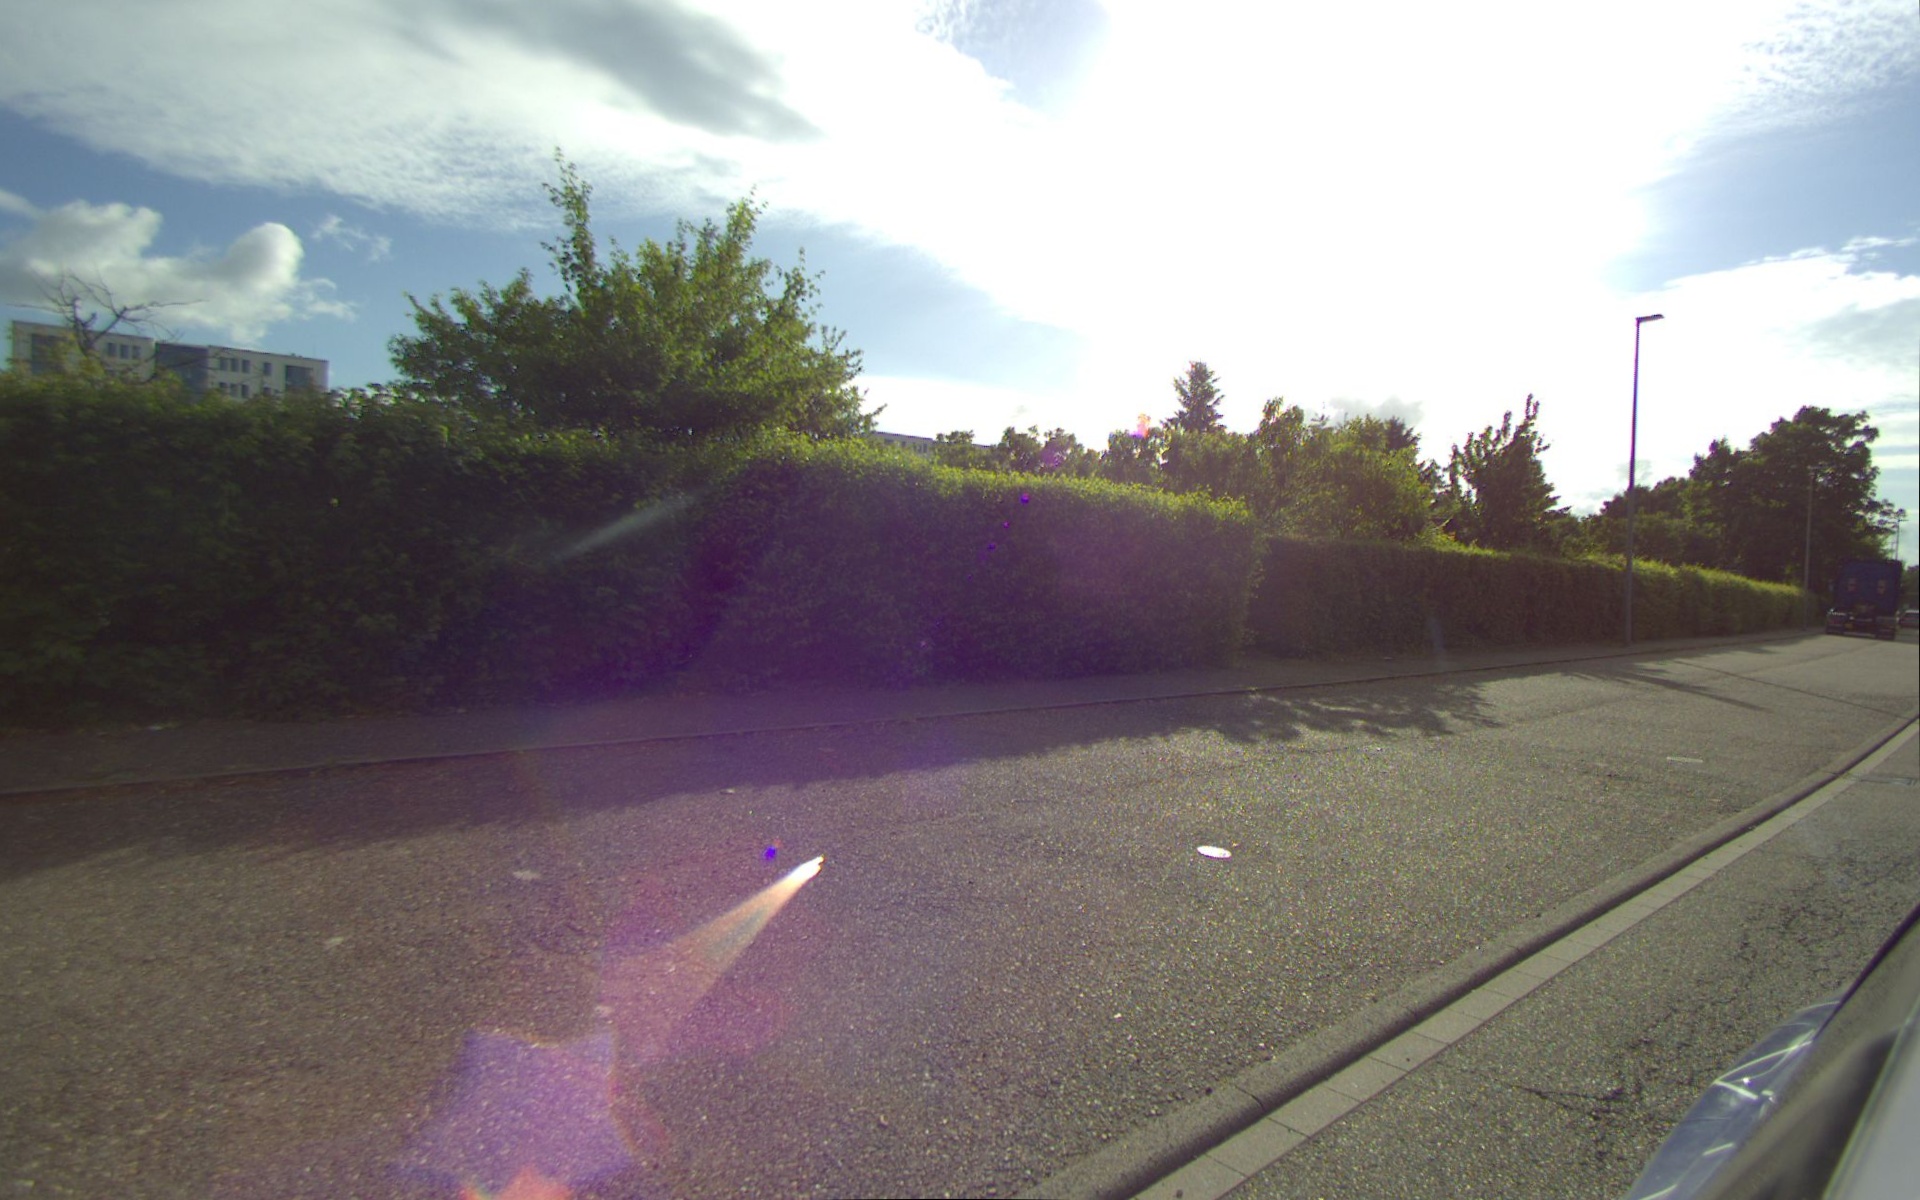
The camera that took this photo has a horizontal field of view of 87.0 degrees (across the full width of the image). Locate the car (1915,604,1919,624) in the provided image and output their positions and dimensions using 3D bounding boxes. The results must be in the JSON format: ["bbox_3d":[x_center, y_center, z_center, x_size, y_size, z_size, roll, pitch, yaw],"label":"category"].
[{"bbox_3d":[78.259,1.179,81.545,1.748,1.589,3.801,7,4,43],"label":"car"}]

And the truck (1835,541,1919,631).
[{"bbox_3d":[45.388,-0.662,50.067,2.597,4.005,6.185,8,5,42],"label":"truck"}]
